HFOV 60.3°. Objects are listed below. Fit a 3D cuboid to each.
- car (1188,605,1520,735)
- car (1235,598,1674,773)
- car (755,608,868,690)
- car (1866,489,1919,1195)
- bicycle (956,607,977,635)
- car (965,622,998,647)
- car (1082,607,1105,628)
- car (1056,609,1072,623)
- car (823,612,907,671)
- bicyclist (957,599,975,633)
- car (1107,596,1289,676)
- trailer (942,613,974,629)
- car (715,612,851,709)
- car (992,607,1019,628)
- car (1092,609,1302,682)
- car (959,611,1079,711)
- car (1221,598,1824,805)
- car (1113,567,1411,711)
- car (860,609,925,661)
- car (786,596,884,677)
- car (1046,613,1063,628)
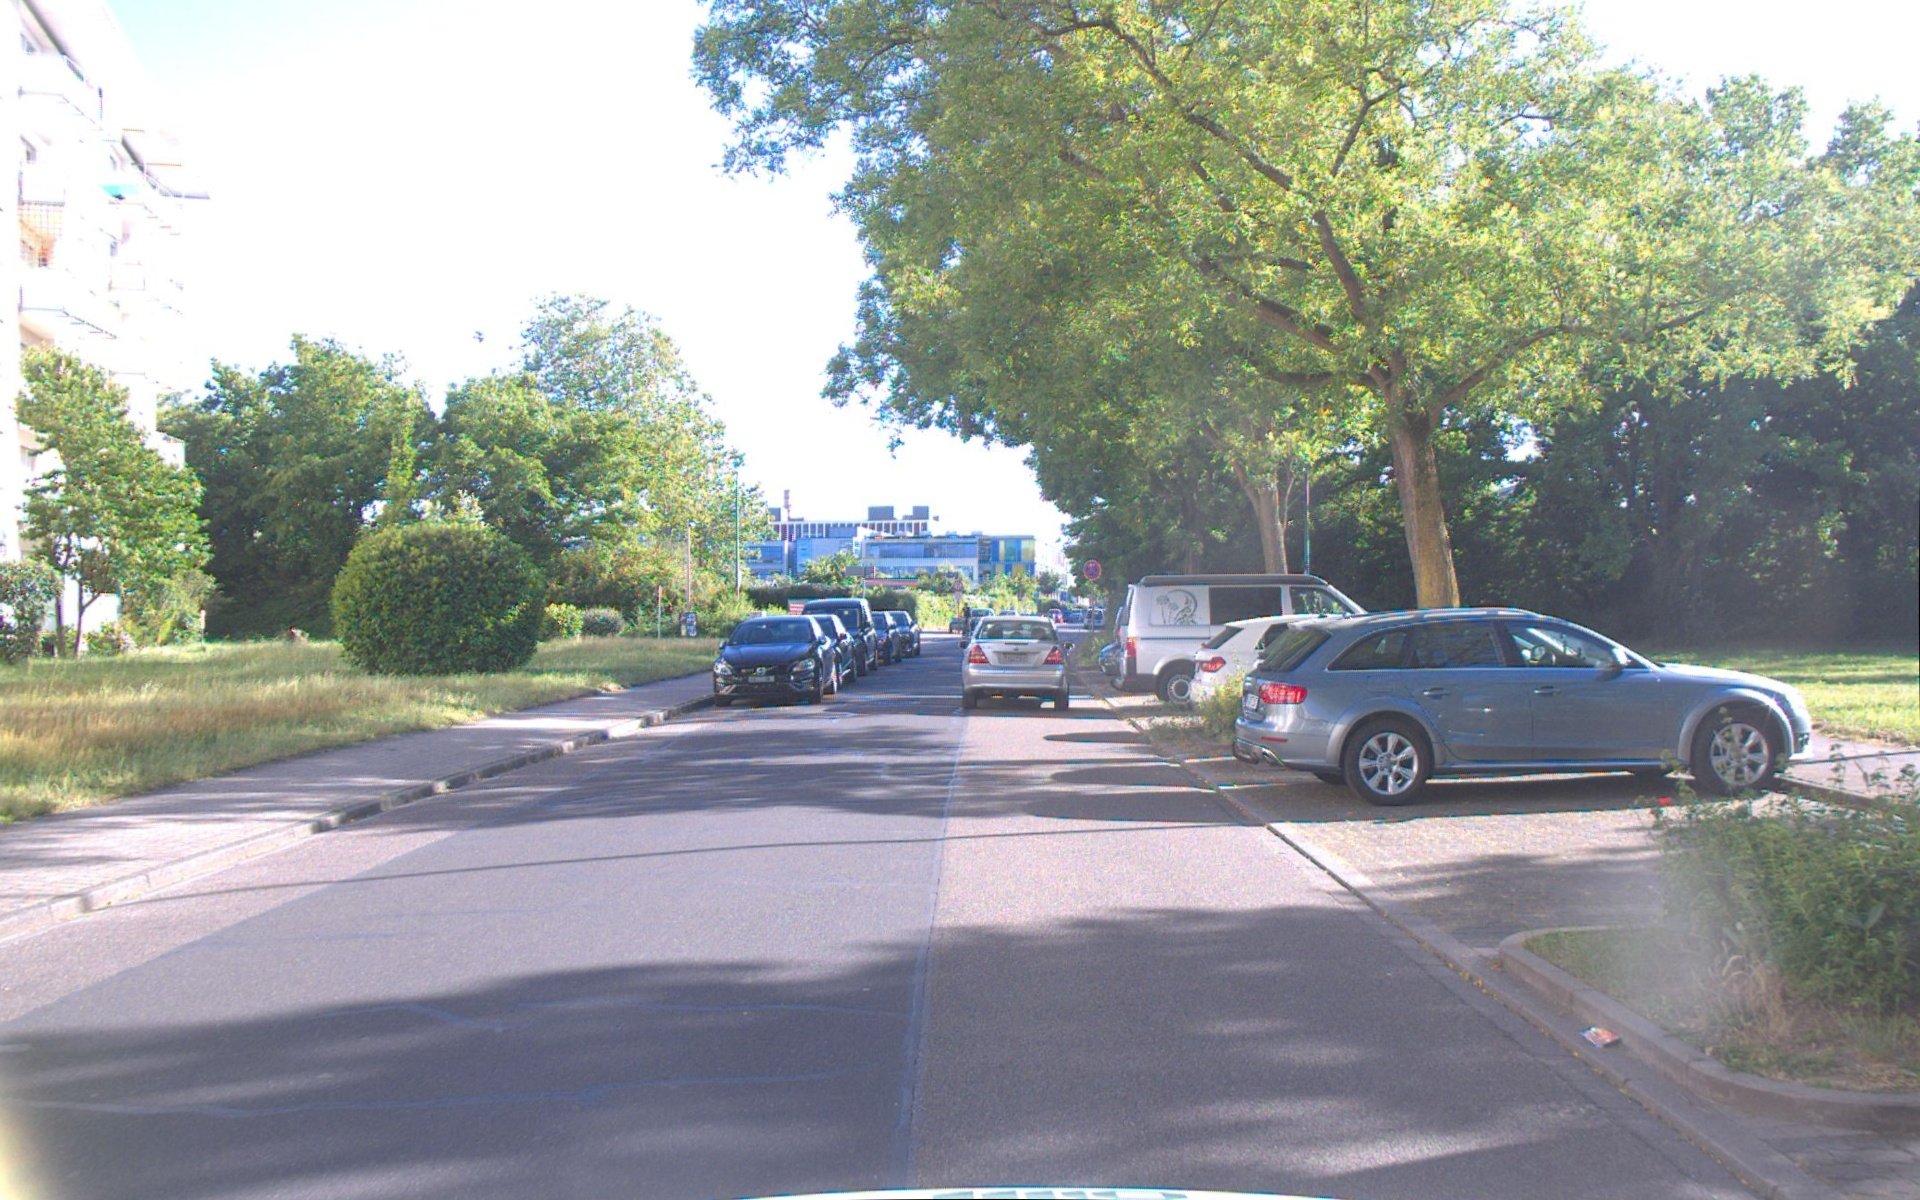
[{"bbox_3d":[4.847,0.858,20.760,3.825,1.460,1.637,-2,0,5],"label":"car"},{"bbox_3d":[4.772,0.810,16.367,3.826,1.460,1.637,-3,0,2],"label":"car"},{"bbox_3d":[-3.083,0.989,35.157,1.802,1.507,4.575,-4,0,1],"label":"car"},{"bbox_3d":[4.409,0.584,3.549,3.958,1.795,1.745,-1,0,0],"label":"car"},{"bbox_3d":[0.332,1.052,83.699,0.833,1.394,3.222,-1,-1,4],"label":"bicycle"},{"bbox_3d":[1.493,2.320,112.231,1.608,1.628,4.315,1,0,9],"label":"car"},{"bbox_3d":[10.439,1.375,129.193,1.523,1.565,3.558,1,0,8],"label":"car"},{"bbox_3d":[12.213,1.893,194.444,1.526,1.521,3.573,2,0,7],"label":"car"},{"bbox_3d":[-2.662,1.153,47.268,1.801,1.479,4.020,-2,0,4],"label":"car"},{"bbox_3d":[0.320,0.808,83.409,0.827,1.687,1.065,-1,-1,4],"label":"bicyclist"},{"bbox_3d":[5.532,0.830,38.815,4.061,1.725,1.776,-2,0,4],"label":"car"},{"bbox_3d":[-0.089,1.278,102.215,1.511,0.970,2.649,1,-1,10],"label":"trailer"},{"bbox_3d":[-3.010,0.989,29.093,1.802,1.507,4.800,-2,0,0],"label":"car"},{"bbox_3d":[3.575,1.395,130.043,1.608,1.583,4.421,-1,-1,7],"label":"car"},{"bbox_3d":[5.130,0.981,36.218,4.359,1.439,1.775,-2,0,1],"label":"car"},{"bbox_3d":[0.881,0.927,26.682,1.702,1.478,3.999,0,0,-1],"label":"car"},{"bbox_3d":[4.509,0.790,13.720,4.388,1.497,1.745,-1,0,-1],"label":"car"},{"bbox_3d":[4.686,0.596,26.190,4.358,2.052,2.022,-2,0,3],"label":"car"},{"bbox_3d":[-2.133,1.088,53.603,1.691,1.489,4.684,-2,0,2],"label":"car"},{"bbox_3d":[-3.009,0.875,40.847,1.802,1.811,4.889,-2,0,2],"label":"car"},{"bbox_3d":[10.055,2.217,176.448,1.526,1.521,3.573,-1,-1,7],"label":"car"}]
